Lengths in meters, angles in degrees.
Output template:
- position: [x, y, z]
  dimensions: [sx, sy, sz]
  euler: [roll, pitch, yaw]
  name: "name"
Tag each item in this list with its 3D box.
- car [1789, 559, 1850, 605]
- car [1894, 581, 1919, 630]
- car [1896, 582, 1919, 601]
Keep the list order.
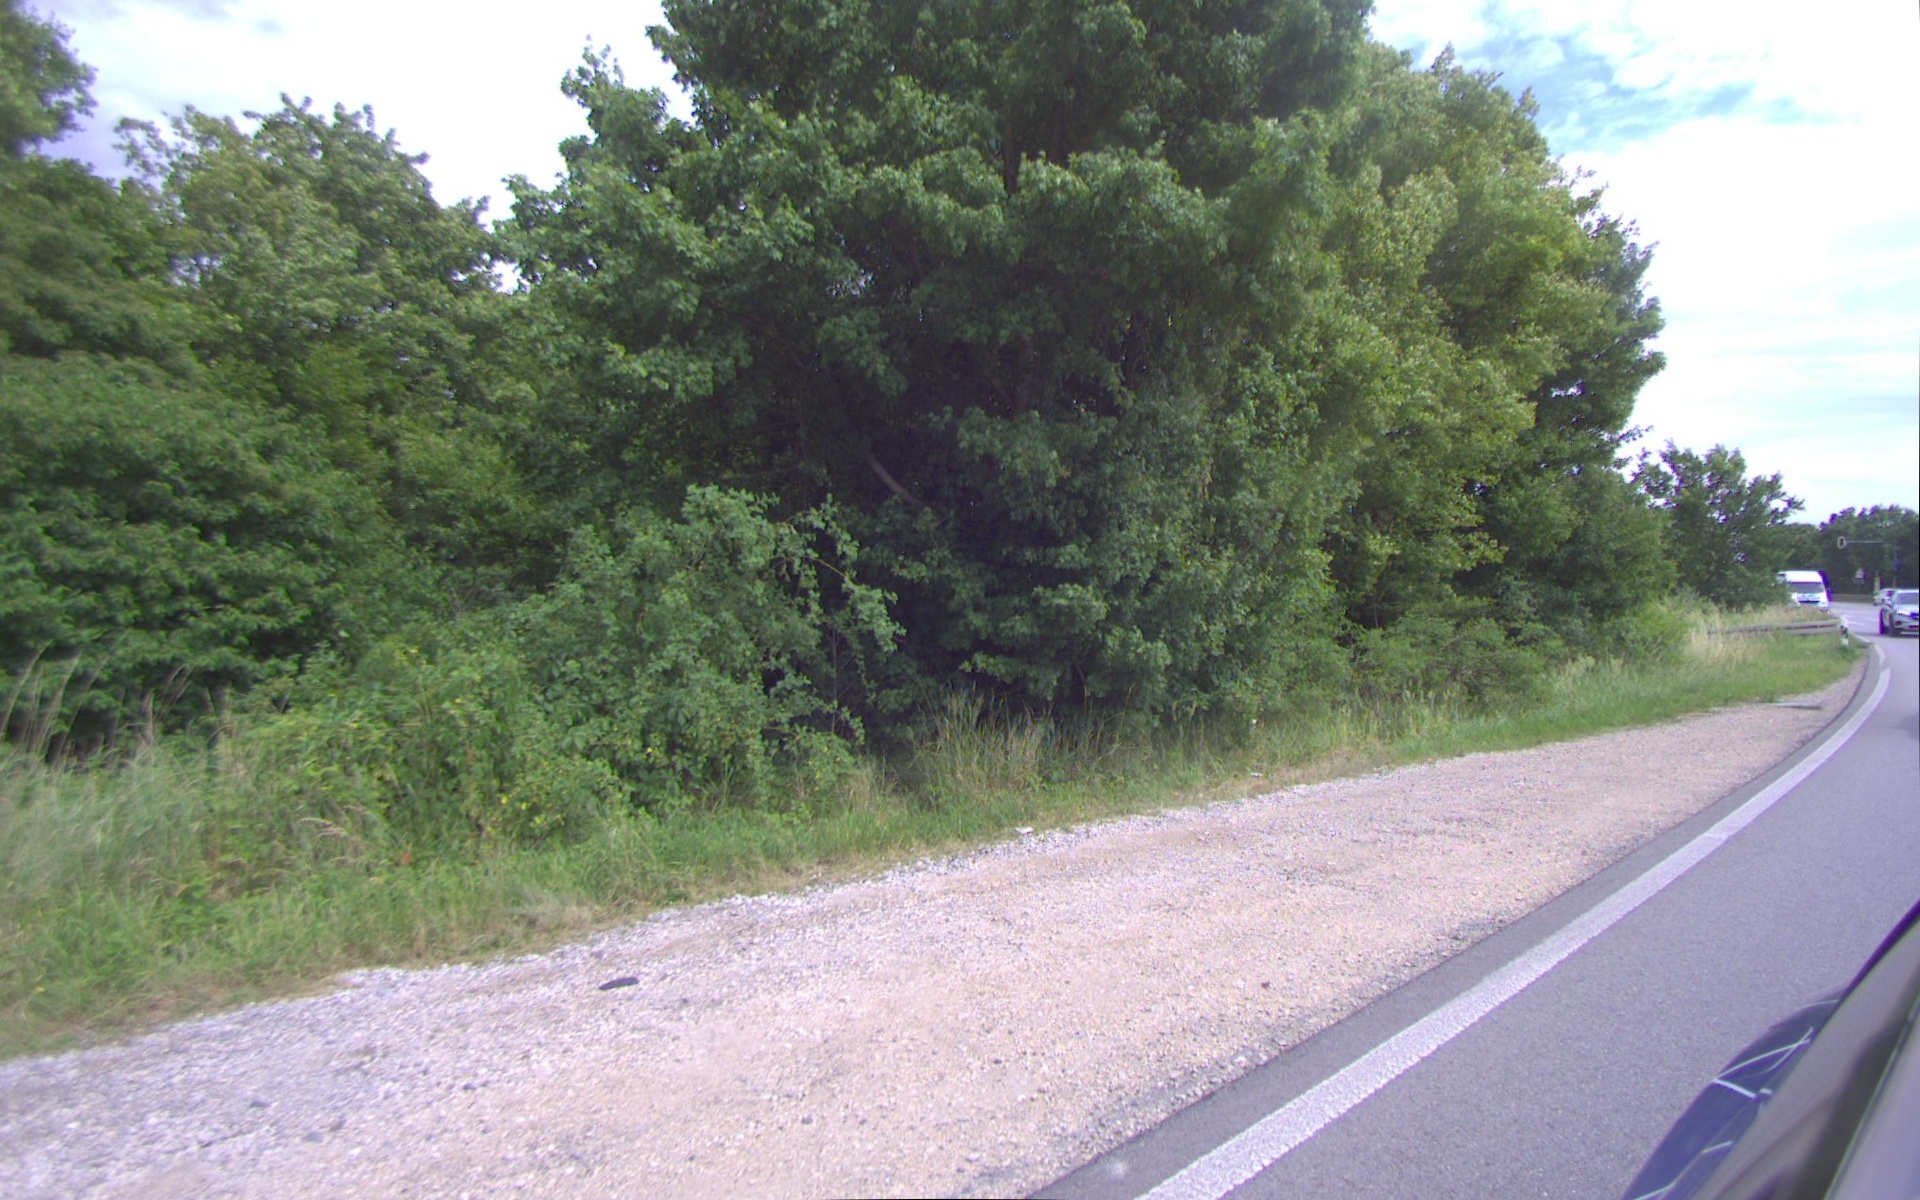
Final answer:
- position: [54.310, -1.107, 64.048]
  dimensions: [2.204, 2.705, 5.176]
  euler: [-1, -2, 33]
  name: "car"
- position: [33.773, 0.194, 34.966]
  dimensions: [2.013, 1.633, 4.218]
  euler: [0, 0, 40]
  name: "car"
- position: [76.988, -0.670, 81.446]
  dimensions: [1.869, 1.507, 3.699]
  euler: [0, 1, 34]
  name: "car"
